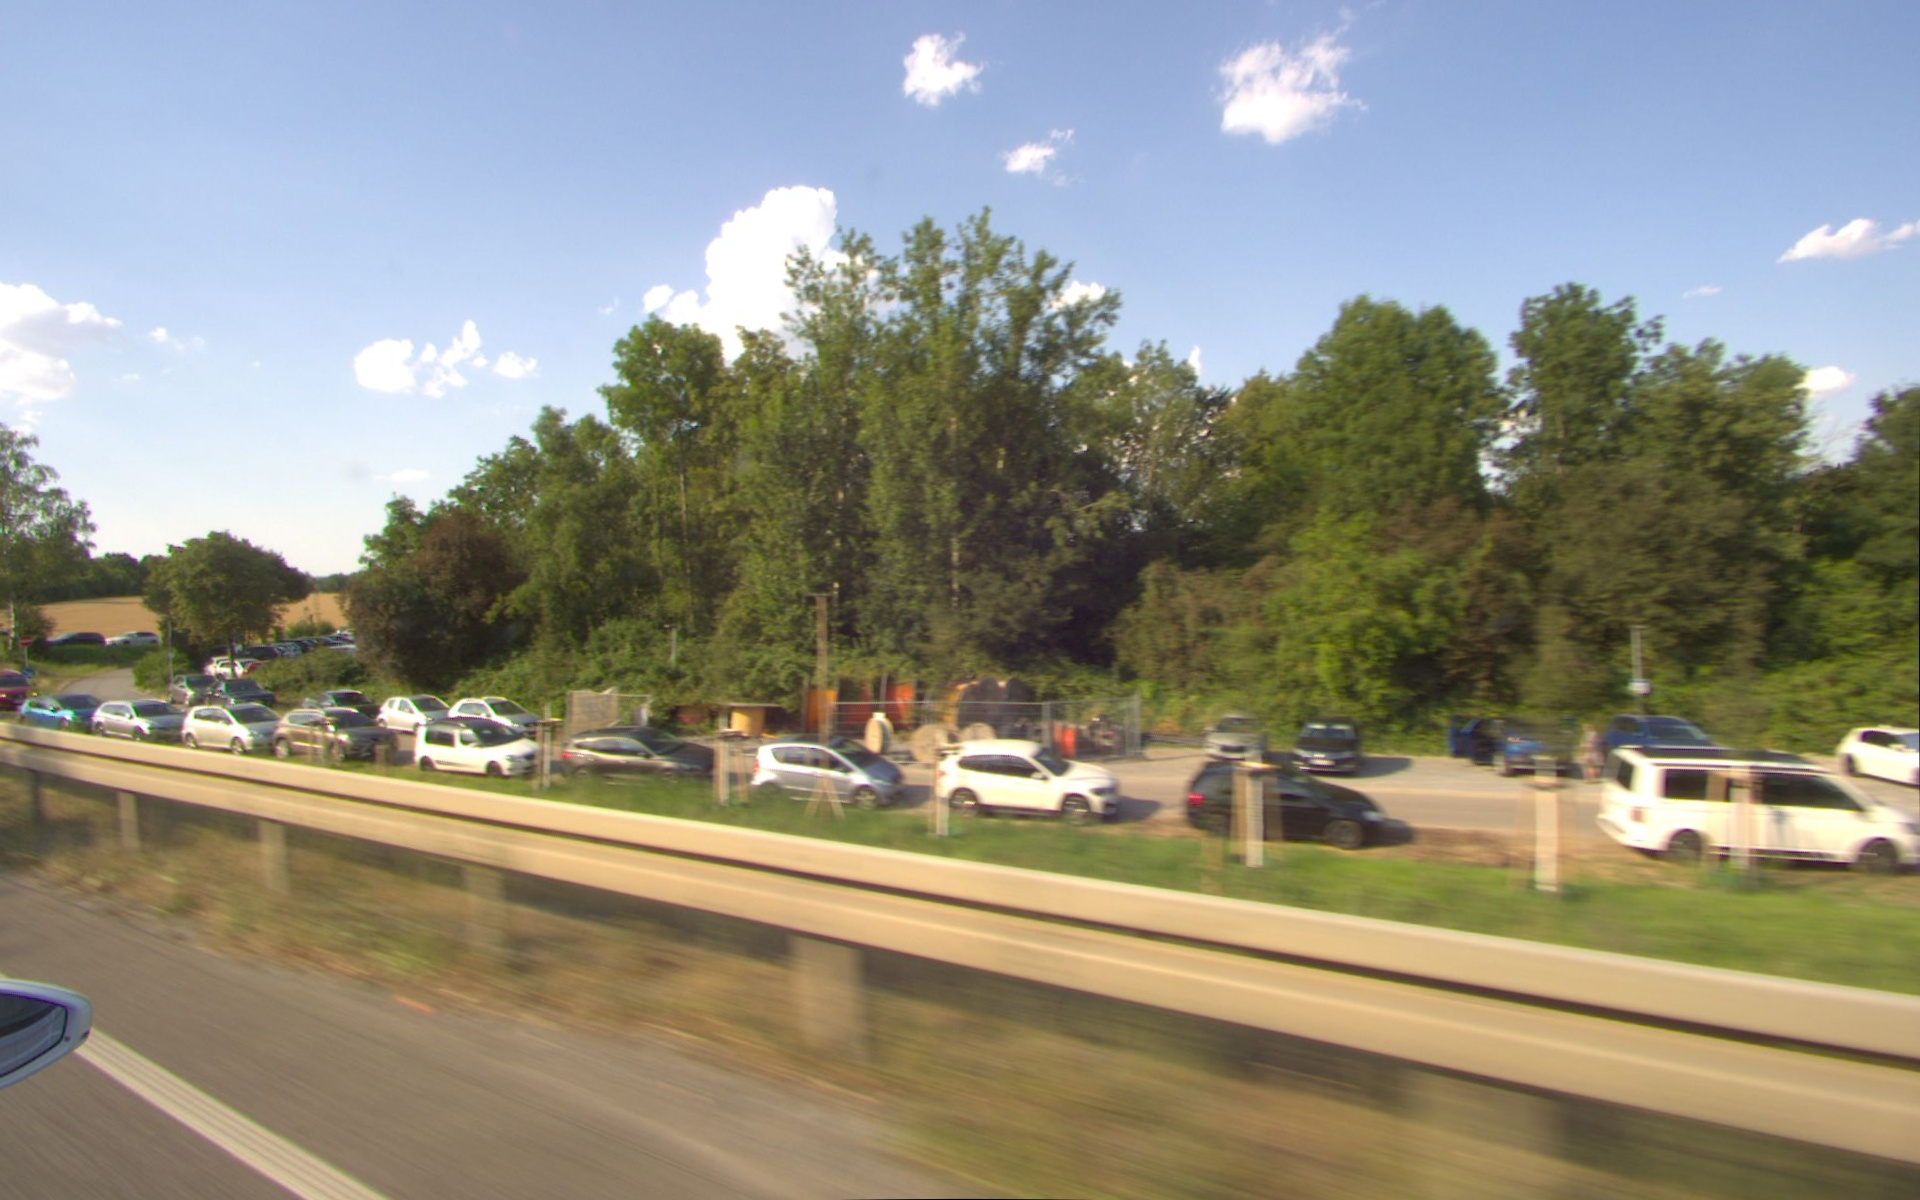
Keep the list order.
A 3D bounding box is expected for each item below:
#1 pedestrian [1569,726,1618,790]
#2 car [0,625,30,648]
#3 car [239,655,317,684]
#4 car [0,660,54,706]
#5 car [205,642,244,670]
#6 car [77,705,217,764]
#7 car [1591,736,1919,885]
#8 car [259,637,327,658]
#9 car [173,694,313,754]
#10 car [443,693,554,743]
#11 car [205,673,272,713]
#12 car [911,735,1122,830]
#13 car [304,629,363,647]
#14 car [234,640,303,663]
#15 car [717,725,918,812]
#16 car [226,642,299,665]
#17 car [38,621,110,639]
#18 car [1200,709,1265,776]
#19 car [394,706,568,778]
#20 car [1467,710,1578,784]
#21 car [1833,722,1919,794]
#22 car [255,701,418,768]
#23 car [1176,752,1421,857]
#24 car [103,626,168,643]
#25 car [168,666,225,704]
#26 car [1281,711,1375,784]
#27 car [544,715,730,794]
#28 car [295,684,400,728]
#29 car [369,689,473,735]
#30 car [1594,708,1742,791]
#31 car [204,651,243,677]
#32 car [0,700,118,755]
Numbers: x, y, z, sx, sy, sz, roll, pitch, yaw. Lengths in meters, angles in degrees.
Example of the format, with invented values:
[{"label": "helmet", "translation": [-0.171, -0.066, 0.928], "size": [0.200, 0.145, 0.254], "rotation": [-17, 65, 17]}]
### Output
[{"label": "pedestrian", "translation": [17.055, 4.241, 26.958], "size": [0.911, 1.491, 0.880], "rotation": [-3, 3, -40]}, {"label": "car", "translation": [-76.724, 2.892, 79.298], "size": [1.777, 1.771, 4.213], "rotation": [0, 0, 13]}, {"label": "car", "translation": [-41.715, 4.228, 61.298], "size": [3.741, 1.563, 1.638], "rotation": [0, 0, -45]}, {"label": "car", "translation": [-46.408, 3.984, 48.810], "size": [5.010, 1.711, 1.887], "rotation": [1, 4, 31]}, {"label": "car", "translation": [-54.086, 4.062, 73.694], "size": [1.778, 1.866, 4.572], "rotation": [0, 0, -30]}, {"label": "car", "translation": [-29.854, 4.886, 36.790], "size": [4.700, 1.581, 1.892], "rotation": [1, 3, 22]}, {"label": "car", "translation": [15.326, 3.895, 18.951], "size": [5.281, 2.046, 2.121], "rotation": [0, 3, 16]}, {"label": "car", "translation": [-57.292, 4.085, 86.071], "size": [4.508, 1.713, 1.803], "rotation": [0, 0, -7]}, {"label": "car", "translation": [-24.933, 4.242, 34.802], "size": [4.703, 1.580, 1.892], "rotation": [1, 1, 25]}, {"label": "car", "translation": [-17.235, 4.363, 37.400], "size": [3.882, 1.530, 1.700], "rotation": [-1, 0, 26]}, {"label": "car", "translation": [-33.917, 4.323, 47.032], "size": [4.734, 1.418, 1.690], "rotation": [0, 3, 44]}, {"label": "car", "translation": [1.364, 4.241, 23.688], "size": [4.695, 1.581, 1.894], "rotation": [0, 3, 16]}, {"label": "car", "translation": [-60.982, 3.699, 97.589], "size": [4.508, 1.713, 1.803], "rotation": [0, 0, -7]}, {"label": "car", "translation": [-57.564, 4.274, 83.432], "size": [4.527, 1.713, 1.796], "rotation": [0, 0, -27]}, {"label": "car", "translation": [-3.590, 4.216, 25.429], "size": [4.695, 1.581, 1.894], "rotation": [0, 3, 16]}, {"label": "car", "translation": [-55.028, 4.192, 79.075], "size": [4.527, 1.713, 1.796], "rotation": [0, 0, -27]}, {"label": "car", "translation": [-76.216, 2.596, 86.228], "size": [1.961, 1.526, 4.645], "rotation": [0, -1, 4]}, {"label": "car", "translation": [8.360, 4.286, 30.677], "size": [1.800, 1.509, 4.242], "rotation": [0, -1, 16]}, {"label": "car", "translation": [-14.378, 4.203, 30.076], "size": [4.697, 1.581, 1.893], "rotation": [0, 3, 19]}, {"label": "car", "translation": [16.311, 4.210, 29.265], "size": [1.800, 1.625, 4.243], "rotation": [-1, -2, 15]}, {"label": "car", "translation": [25.365, 4.182, 26.319], "size": [1.738, 1.517, 4.246], "rotation": [0, -1, 10]}, {"label": "car", "translation": [-20.106, 4.284, 32.300], "size": [4.697, 1.581, 1.893], "rotation": [0, 3, 19]}, {"label": "car", "translation": [7.045, 4.264, 21.236], "size": [4.695, 1.503, 1.894], "rotation": [0, 3, 16]}, {"label": "car", "translation": [-75.587, 3.129, 91.887], "size": [1.961, 1.526, 4.645], "rotation": [0, -1, 4]}, {"label": "car", "translation": [-38.700, 4.281, 50.725], "size": [4.056, 1.418, 1.690], "rotation": [2, 4, 44]}, {"label": "car", "translation": [10.796, 4.215, 29.207], "size": [1.806, 1.509, 4.227], "rotation": [2, 0, 31]}, {"label": "car", "translation": [-8.914, 4.207, 27.688], "size": [4.697, 1.581, 1.893], "rotation": [0, 3, 19]}, {"label": "car", "translation": [-25.435, 4.348, 41.514], "size": [4.715, 1.418, 1.697], "rotation": [-1, 2, 31]}, {"label": "car", "translation": [-21.127, 4.344, 39.229], "size": [3.884, 1.418, 1.698], "rotation": [-1, 2, 28]}, {"label": "car", "translation": [19.852, 4.146, 28.325], "size": [1.799, 1.765, 4.246], "rotation": [0, -1, 10]}, {"label": "car", "translation": [-50.019, 4.295, 67.958], "size": [1.677, 1.506, 4.250], "rotation": [0, 0, -43]}, {"label": "car", "translation": [-35.333, 4.900, 38.858], "size": [4.697, 1.581, 1.893], "rotation": [0, 3, 19]}]
